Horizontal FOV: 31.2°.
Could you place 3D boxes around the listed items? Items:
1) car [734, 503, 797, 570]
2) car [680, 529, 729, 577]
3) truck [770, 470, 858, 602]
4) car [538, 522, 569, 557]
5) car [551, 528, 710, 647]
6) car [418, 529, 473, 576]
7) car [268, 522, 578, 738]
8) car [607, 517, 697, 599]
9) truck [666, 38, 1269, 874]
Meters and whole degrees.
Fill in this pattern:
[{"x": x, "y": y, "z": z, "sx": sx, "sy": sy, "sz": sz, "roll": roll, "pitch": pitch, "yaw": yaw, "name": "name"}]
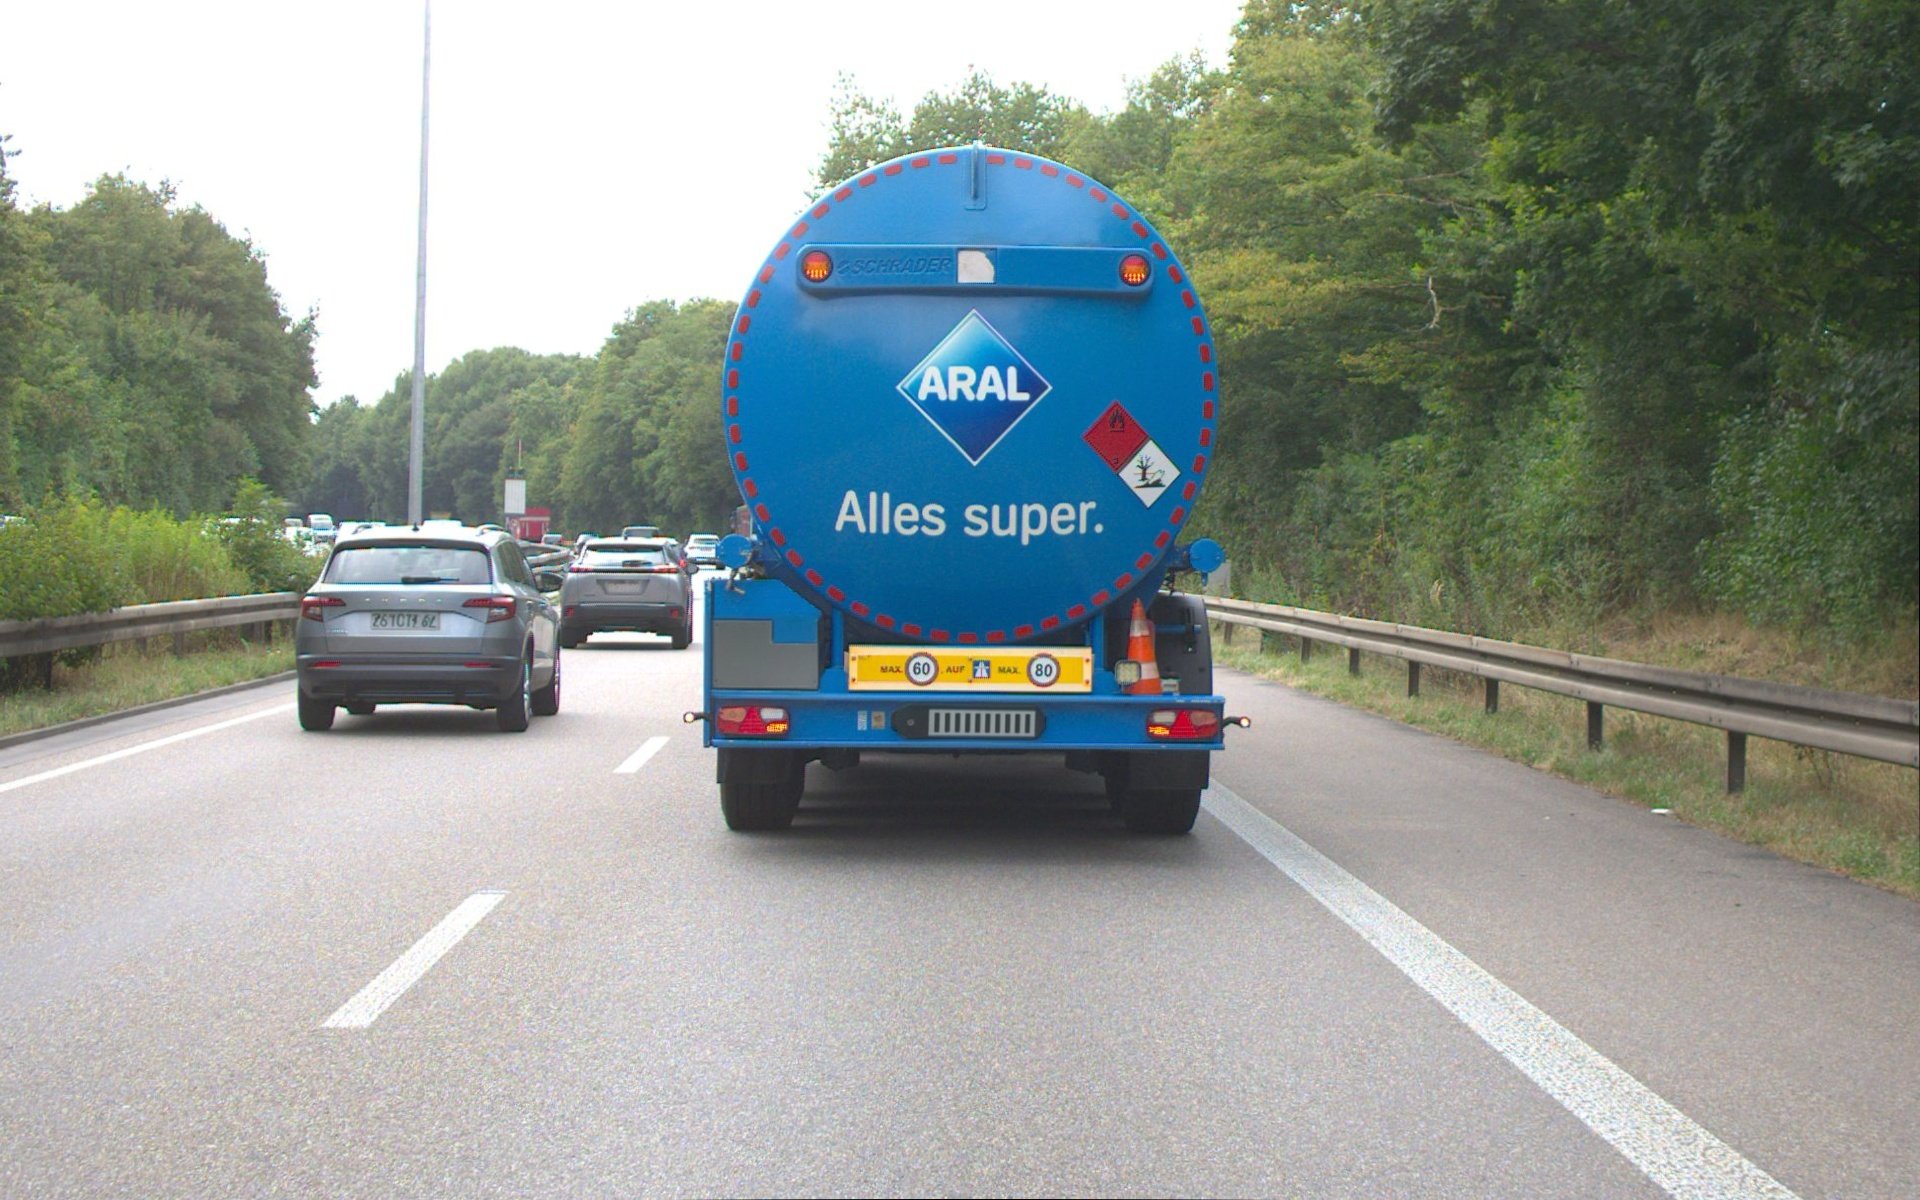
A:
[{"x": -6.676, "y": -2.150, "z": 117.752, "sx": 1.993, "sy": 2.237, "sz": 4.001, "roll": 0, "pitch": 1, "yaw": -5, "name": "car"}, {"x": -12.150, "y": -2.239, "z": 163.687, "sx": 1.993, "sy": 2.237, "sz": 4.000, "roll": 0, "pitch": 1, "yaw": 0, "name": "car"}, {"x": -3.535, "y": -1.539, "z": 84.393, "sx": 1.993, "sy": 3.082, "sz": 7.816, "roll": 0, "pitch": 1, "yaw": -1, "name": "truck"}, {"x": -26.791, "y": -3.968, "z": 226.678, "sx": 1.993, "sy": 2.237, "sz": 4.001, "roll": 0, "pitch": 1, "yaw": -7, "name": "car"}, {"x": -4.620, "y": -0.188, "z": 48.717, "sx": 1.826, "sy": 1.604, "sz": 4.167, "roll": 0, "pitch": 1, "yaw": 0, "name": "car"}, {"x": -20.612, "y": -1.901, "z": 137.860, "sx": 1.791, "sy": 1.830, "sz": 4.958, "roll": 0, "pitch": 1, "yaw": -4, "name": "car"}, {"x": -4.249, "y": 0.203, "z": 27.805, "sx": 1.826, "sy": 1.604, "sz": 4.167, "roll": 0, "pitch": 1, "yaw": 0, "name": "car"}, {"x": -7.705, "y": -1.044, "z": 86.221, "sx": 1.993, "sy": 2.007, "sz": 4.000, "roll": 0, "pitch": 1, "yaw": -2, "name": "car"}, {"x": 0.055, "y": -0.704, "z": 19.669, "sx": 2.755, "sy": 3.833, "sz": 7.688, "roll": 0, "pitch": 1, "yaw": 0, "name": "truck"}]
